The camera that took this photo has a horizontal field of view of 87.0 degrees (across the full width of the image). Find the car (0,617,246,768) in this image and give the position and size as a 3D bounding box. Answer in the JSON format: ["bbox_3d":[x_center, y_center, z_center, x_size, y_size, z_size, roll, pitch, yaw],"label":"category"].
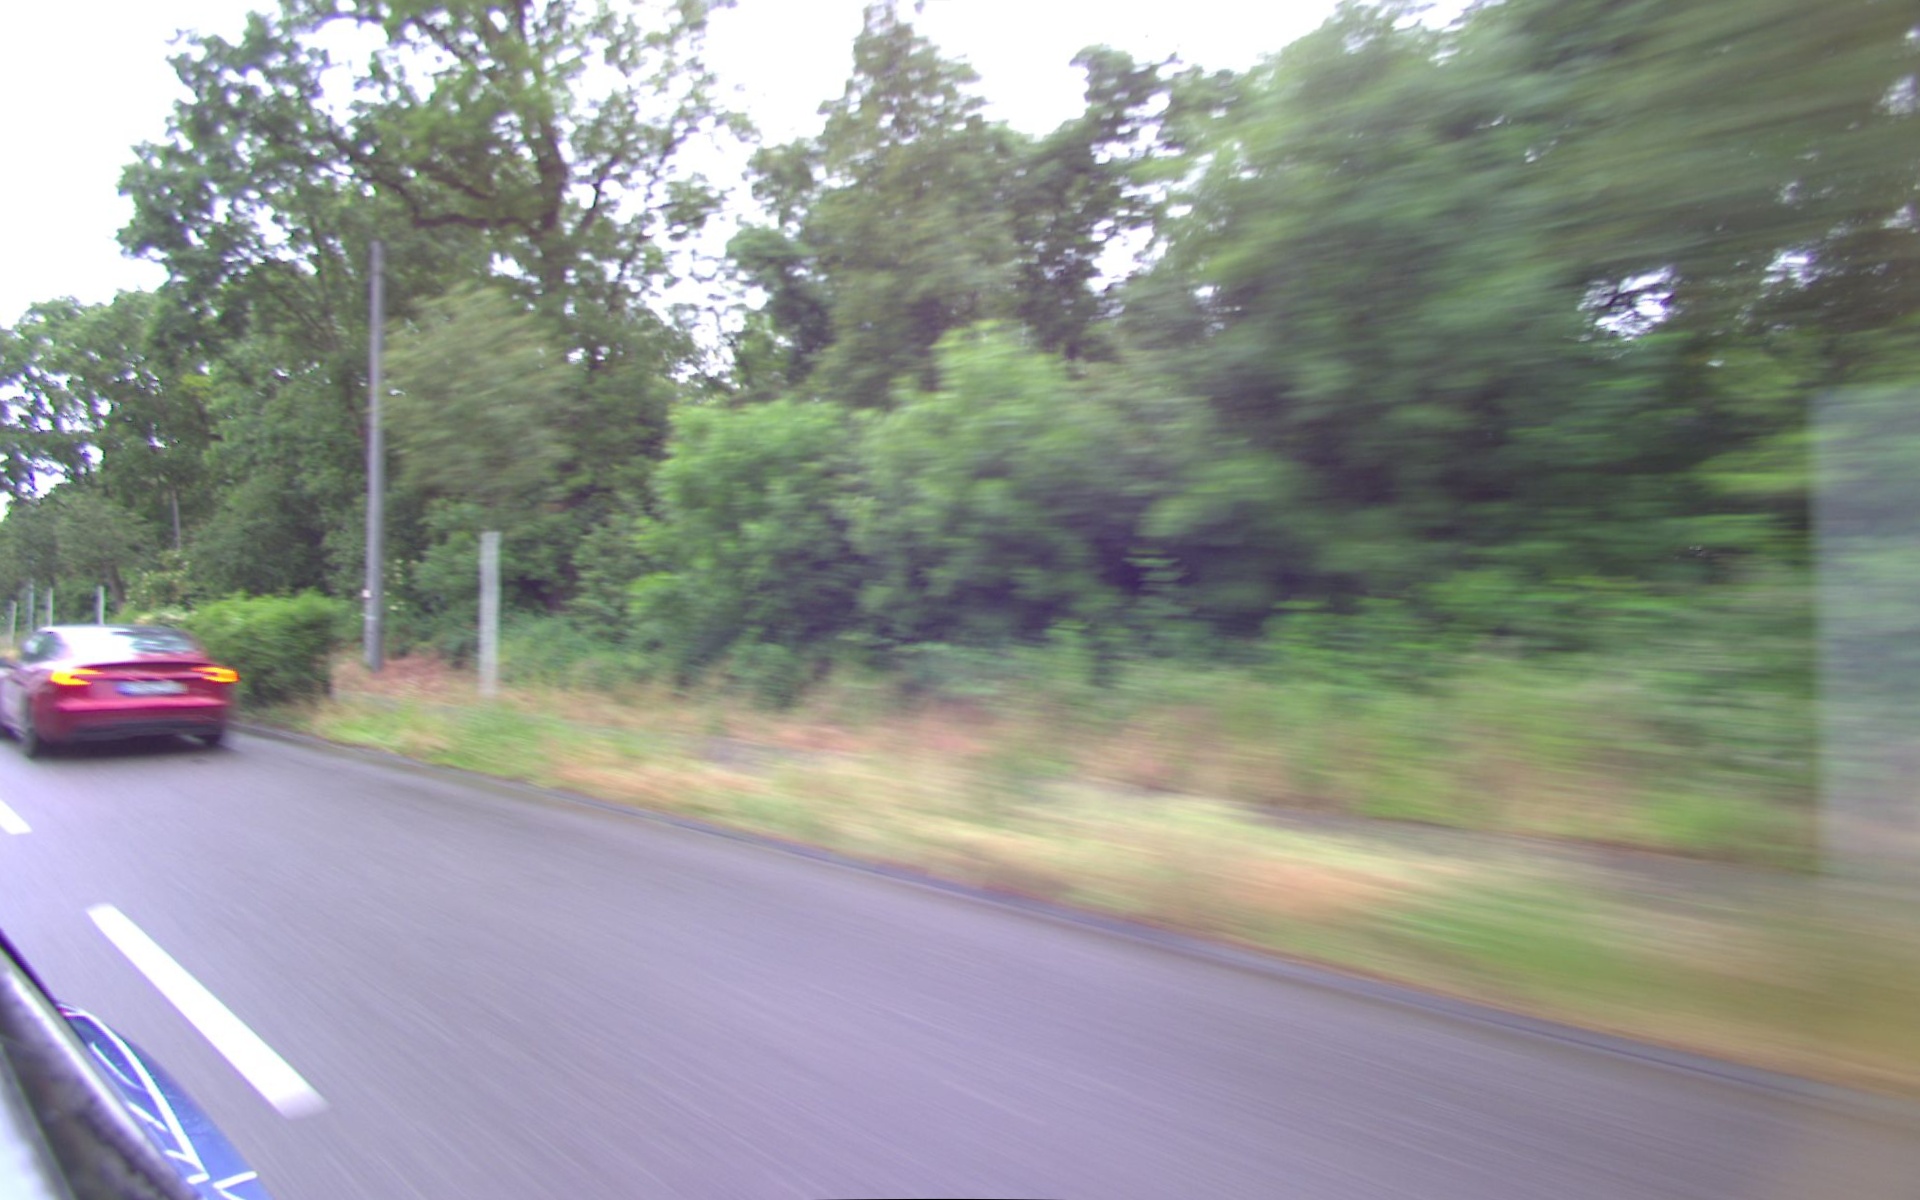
[{"bbox_3d":[-10.241,0.973,12.119,4.154,1.491,1.841,-1,-2,41],"label":"car"}]
